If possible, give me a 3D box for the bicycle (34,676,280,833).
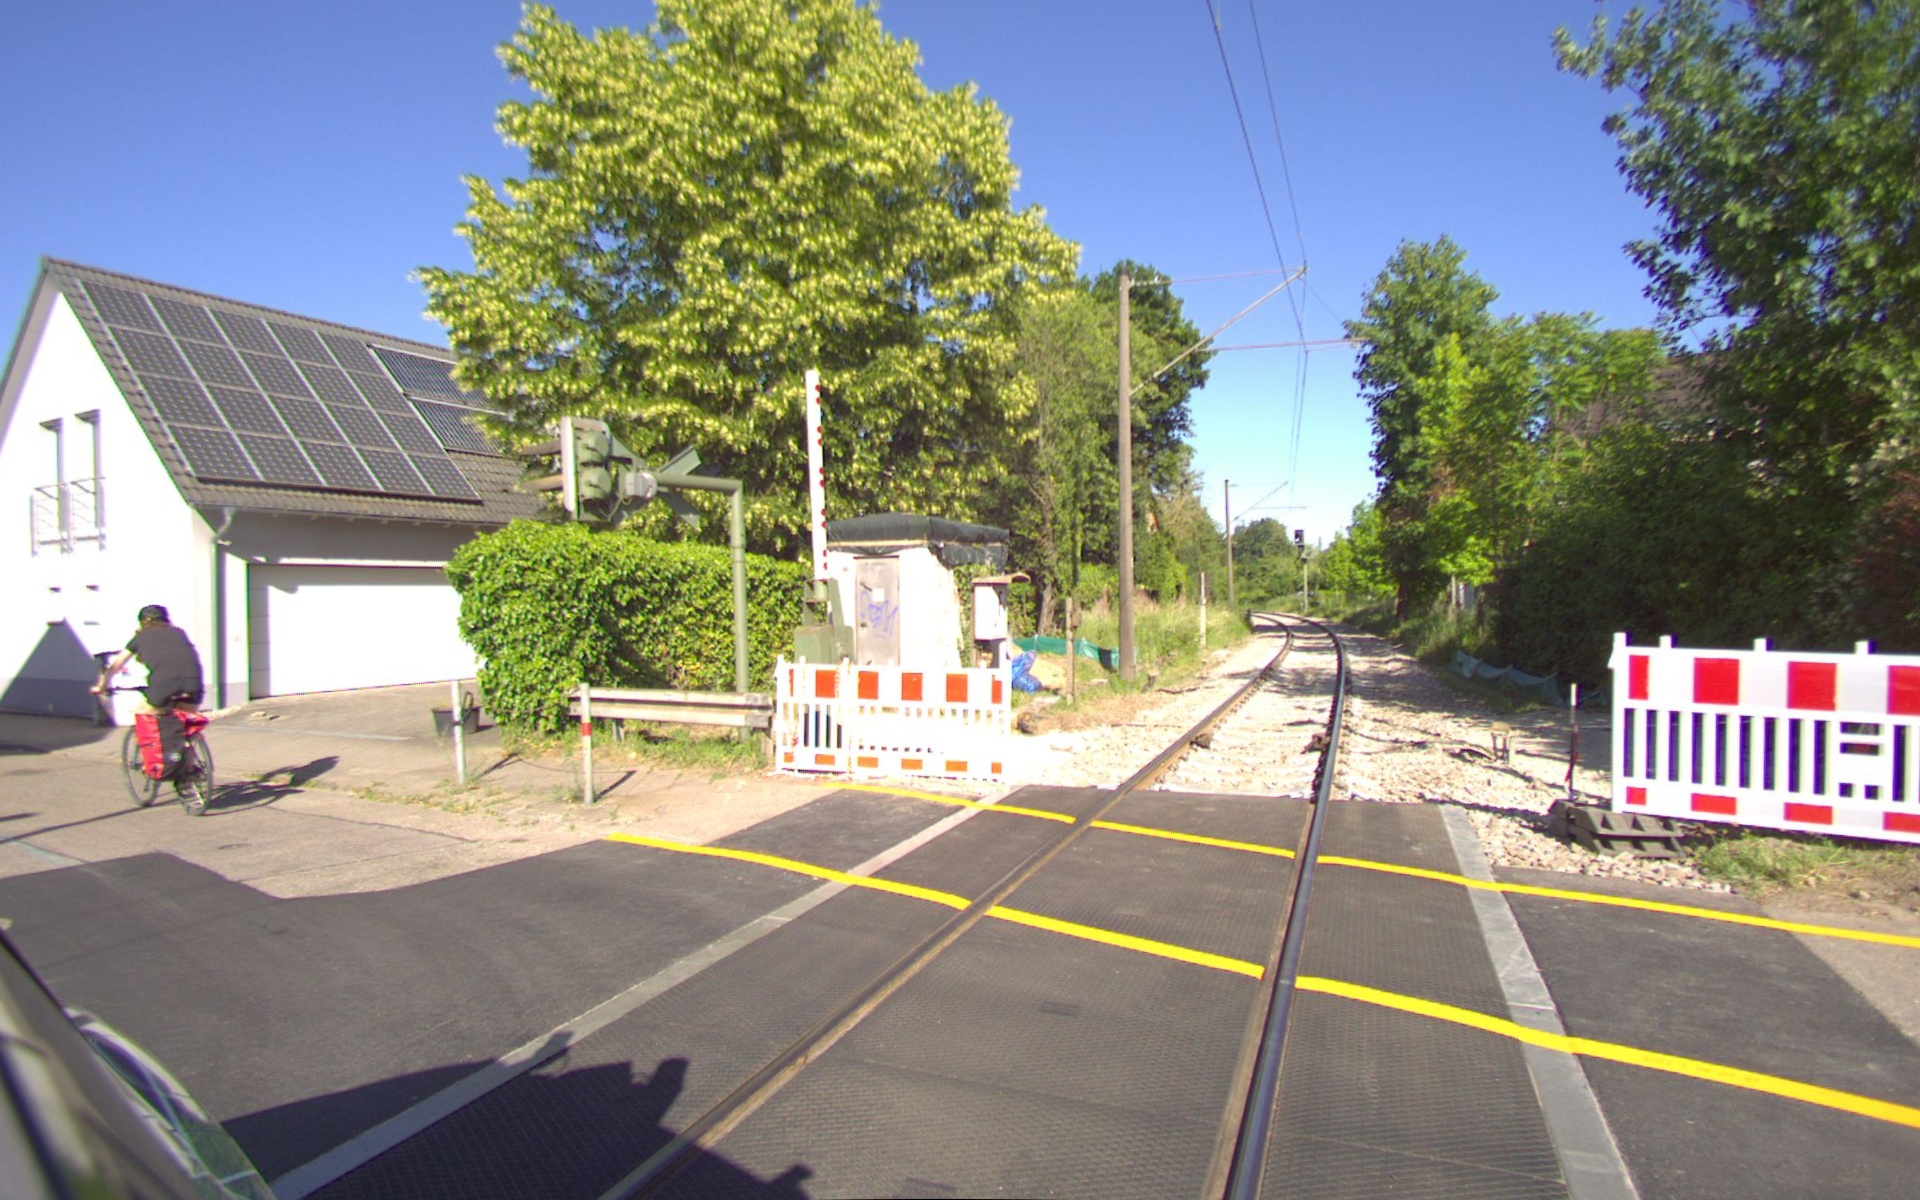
[{"bbox_3d":[-6.569,1.194,8.258,2.054,1.013,0.877,-1,0,30],"label":"bicycle"}]

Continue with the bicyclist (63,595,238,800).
[{"bbox_3d":[-6.612,0.743,8.282,0.869,1.553,0.843,-1,0,29],"label":"bicyclist"}]
